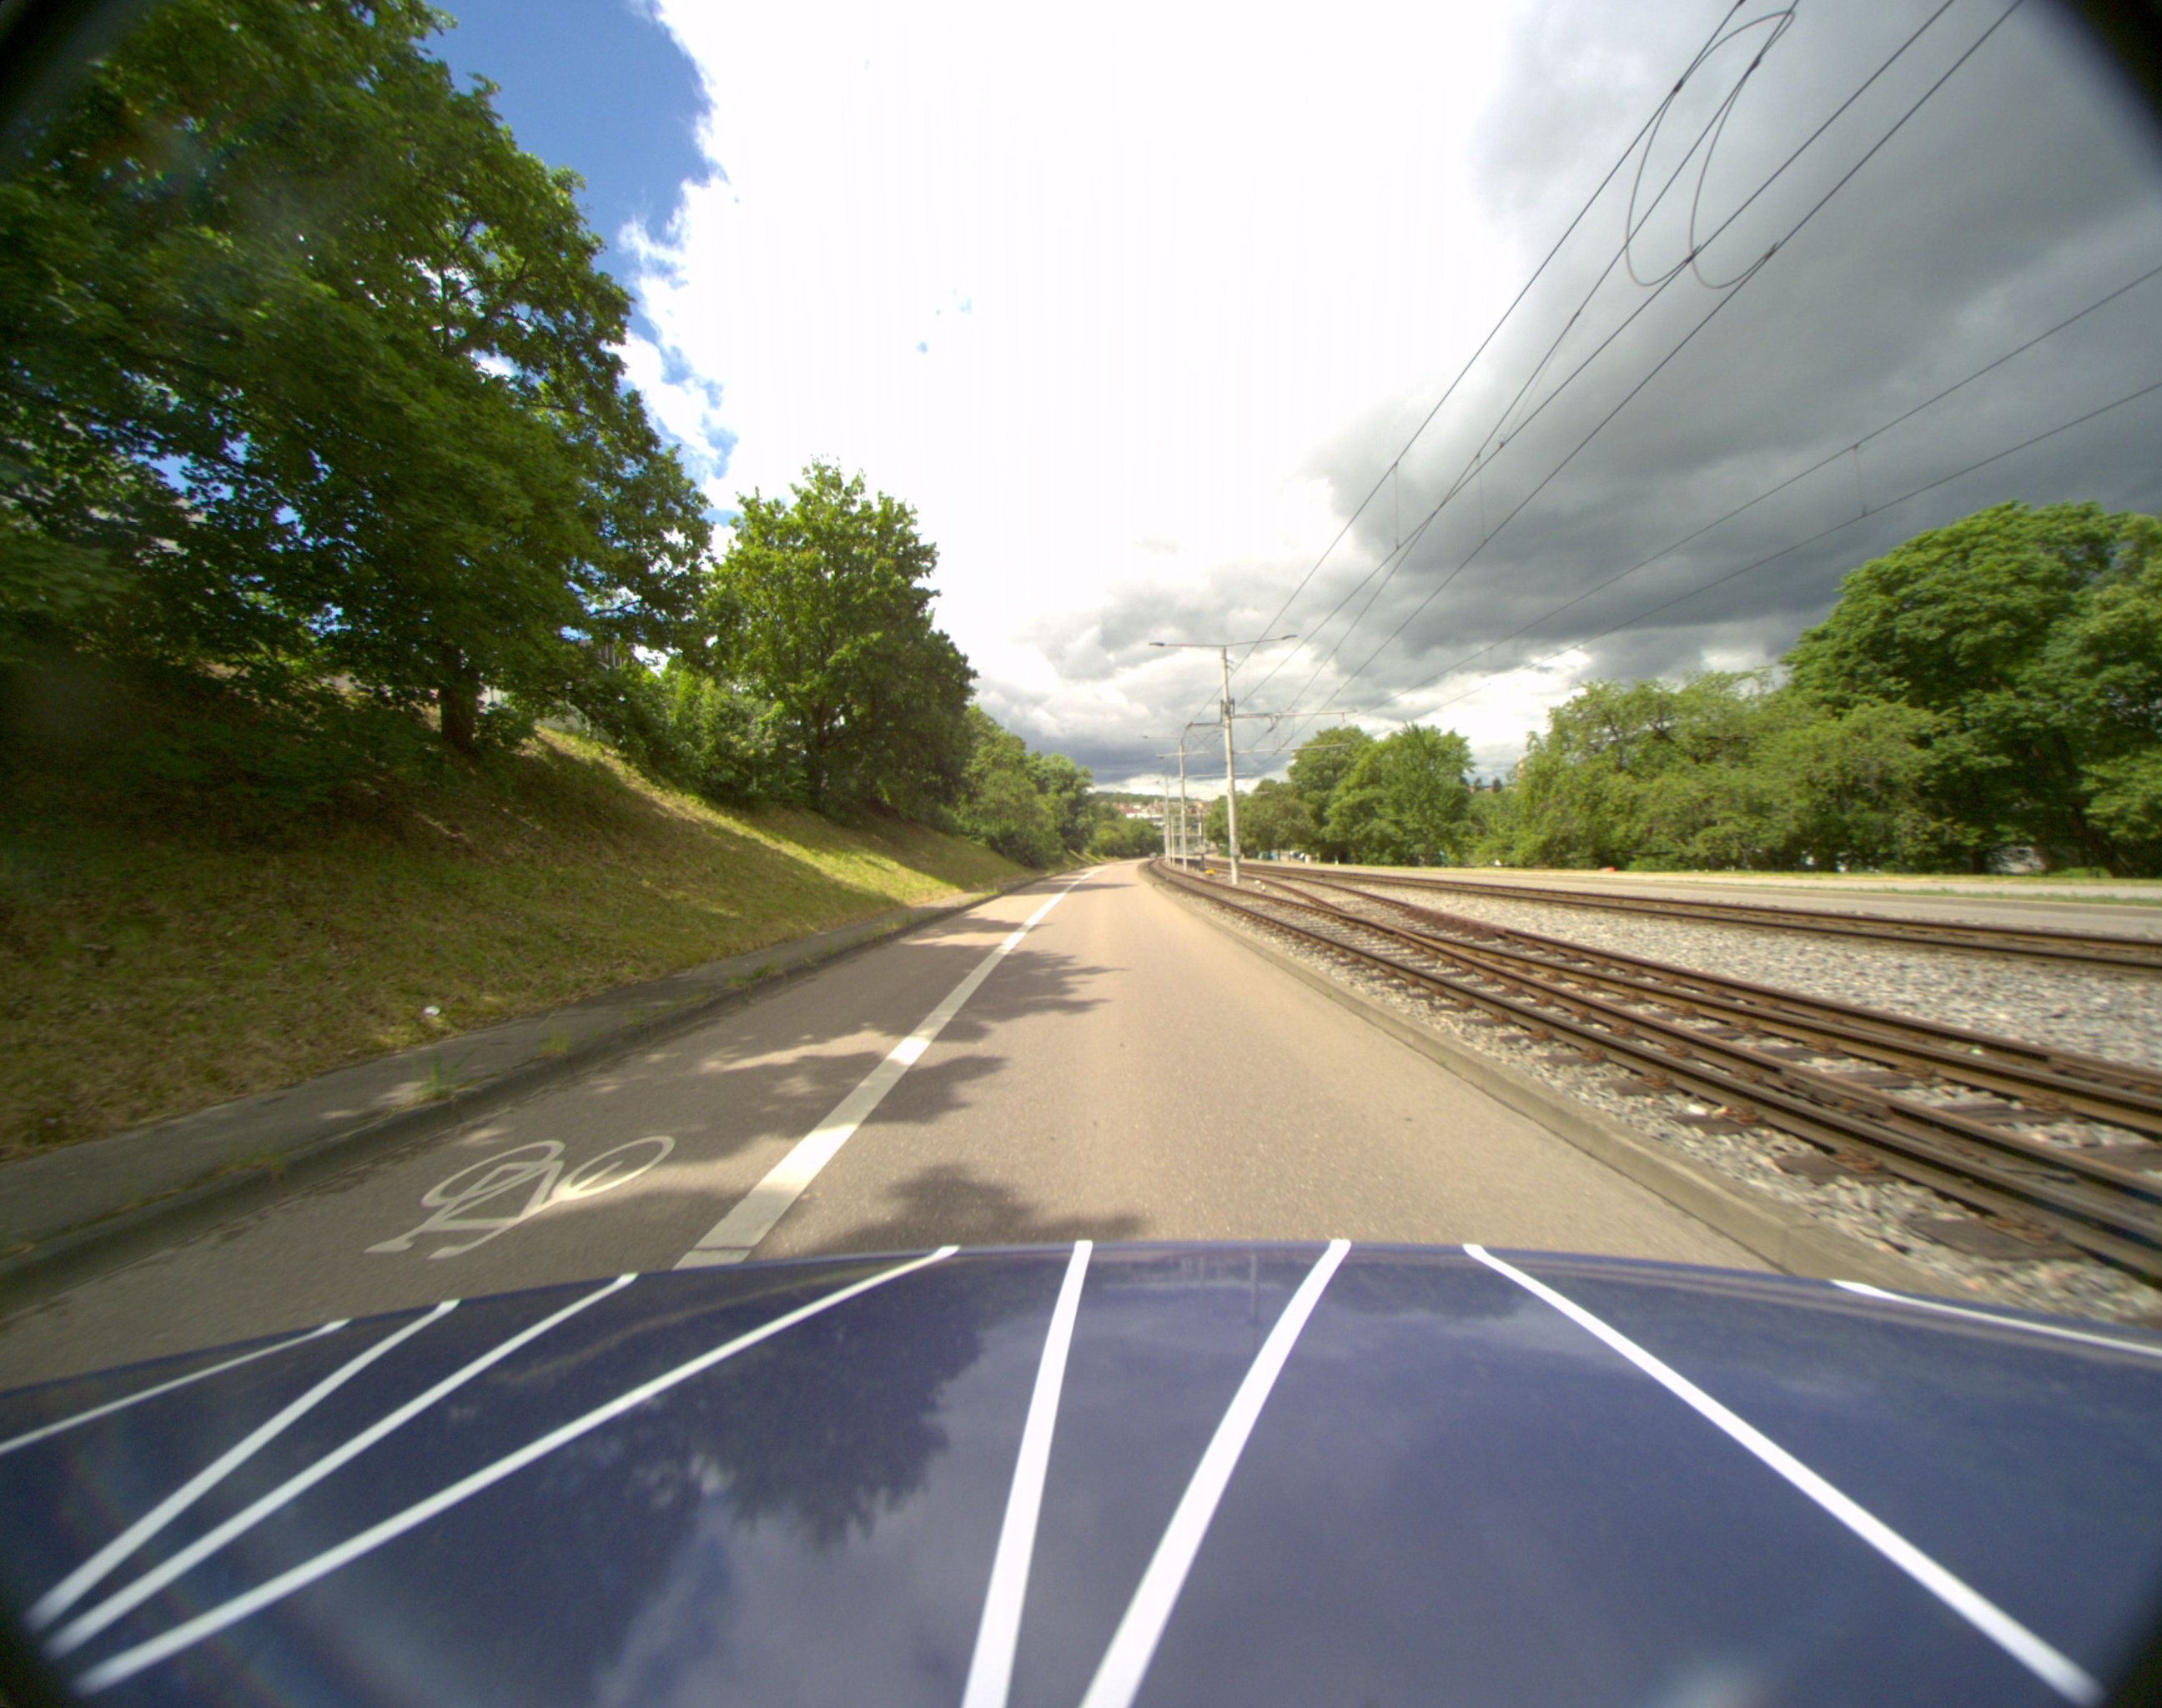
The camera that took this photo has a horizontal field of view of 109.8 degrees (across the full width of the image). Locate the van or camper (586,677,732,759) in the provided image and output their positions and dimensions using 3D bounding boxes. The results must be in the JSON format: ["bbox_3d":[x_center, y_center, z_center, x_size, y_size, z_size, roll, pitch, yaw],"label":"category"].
[{"bbox_3d":[-16.257,-5.184,29.832,2.222,2.057,6.161,-2,0,0],"label":"van or camper"}]

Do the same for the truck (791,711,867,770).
[{"bbox_3d":[-15.945,-7.135,48.686,2.356,2.643,7.039,-2,0,1],"label":"truck"}]
